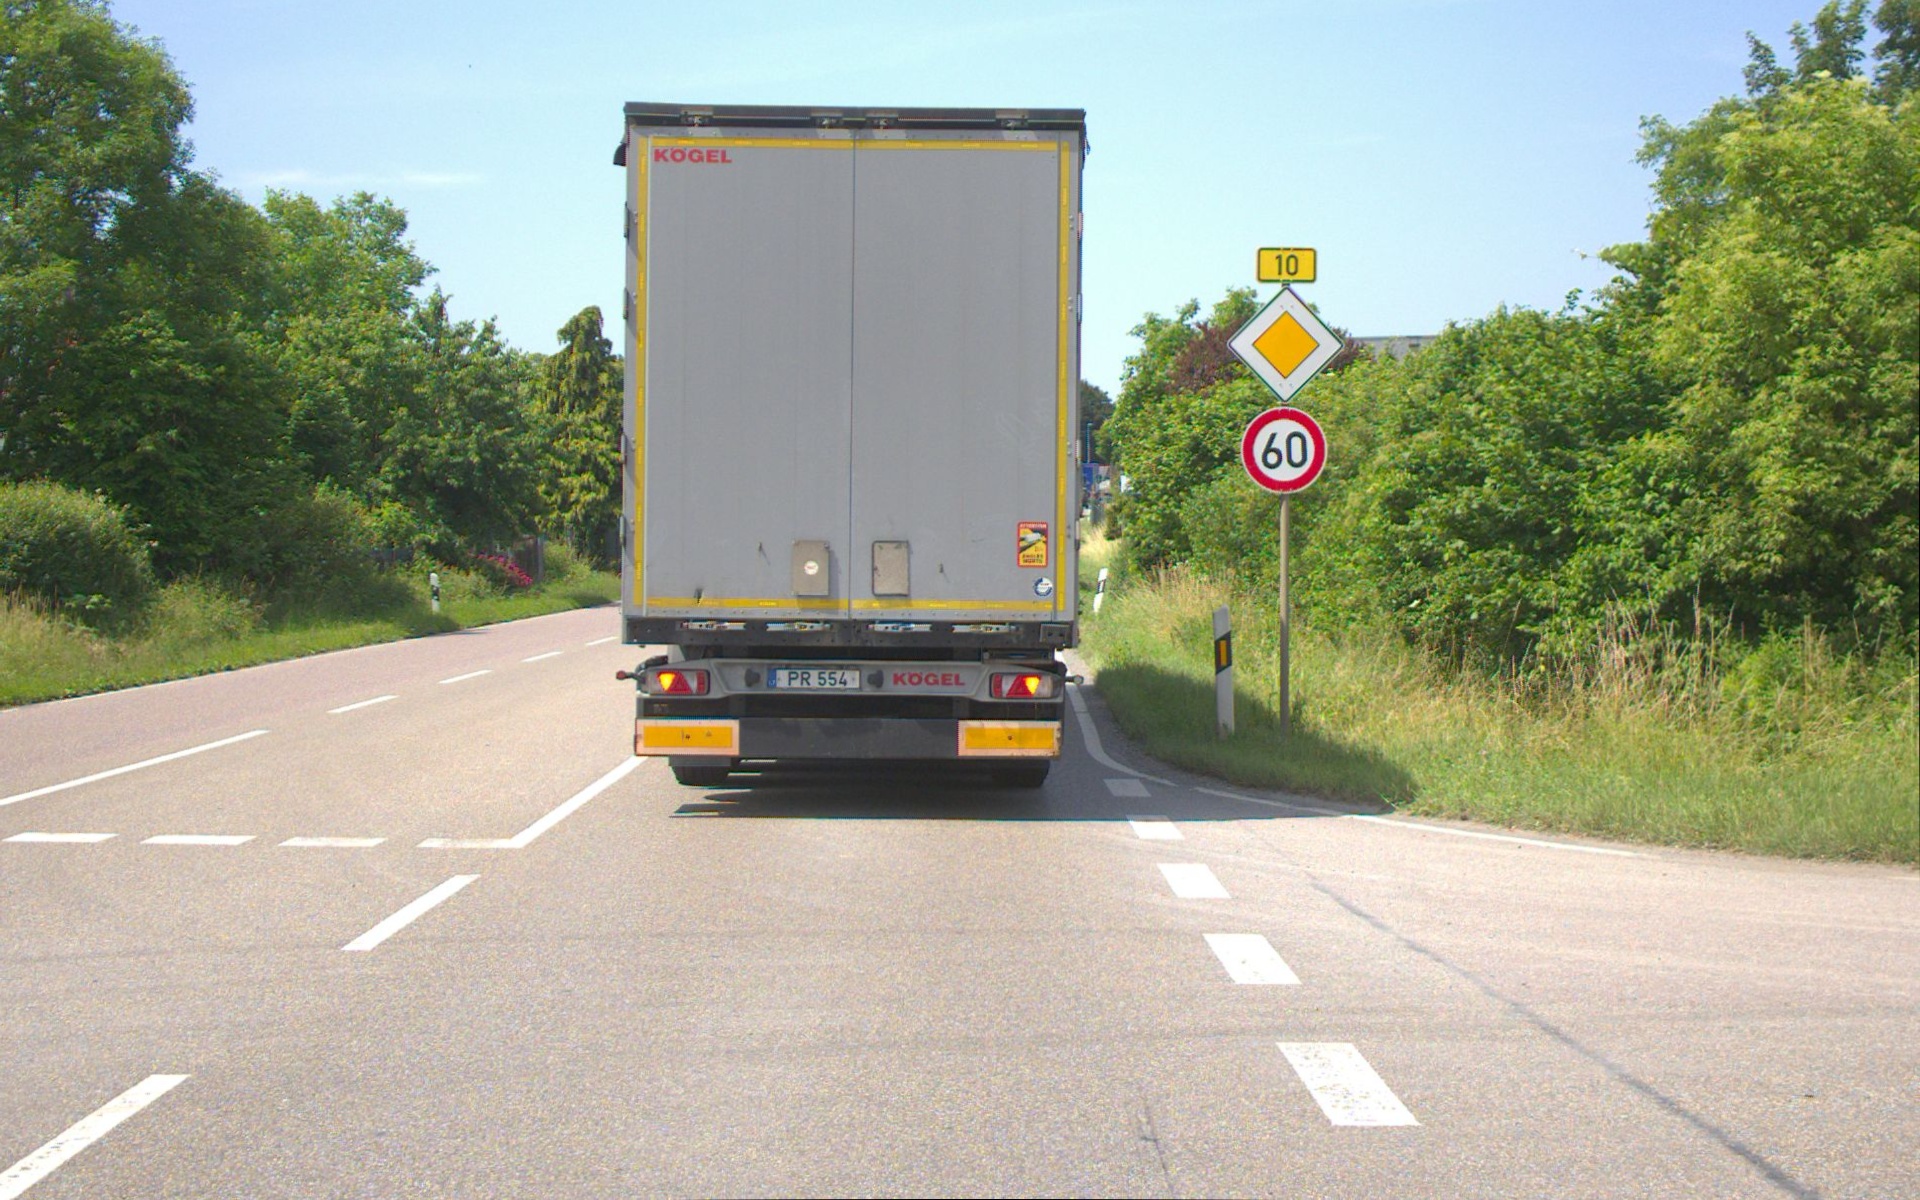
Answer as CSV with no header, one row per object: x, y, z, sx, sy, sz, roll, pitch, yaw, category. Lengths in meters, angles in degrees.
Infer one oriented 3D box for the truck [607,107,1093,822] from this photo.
-0.661,-0.829,23.279,2.647,3.903,8.826,0,1,-1,truck
